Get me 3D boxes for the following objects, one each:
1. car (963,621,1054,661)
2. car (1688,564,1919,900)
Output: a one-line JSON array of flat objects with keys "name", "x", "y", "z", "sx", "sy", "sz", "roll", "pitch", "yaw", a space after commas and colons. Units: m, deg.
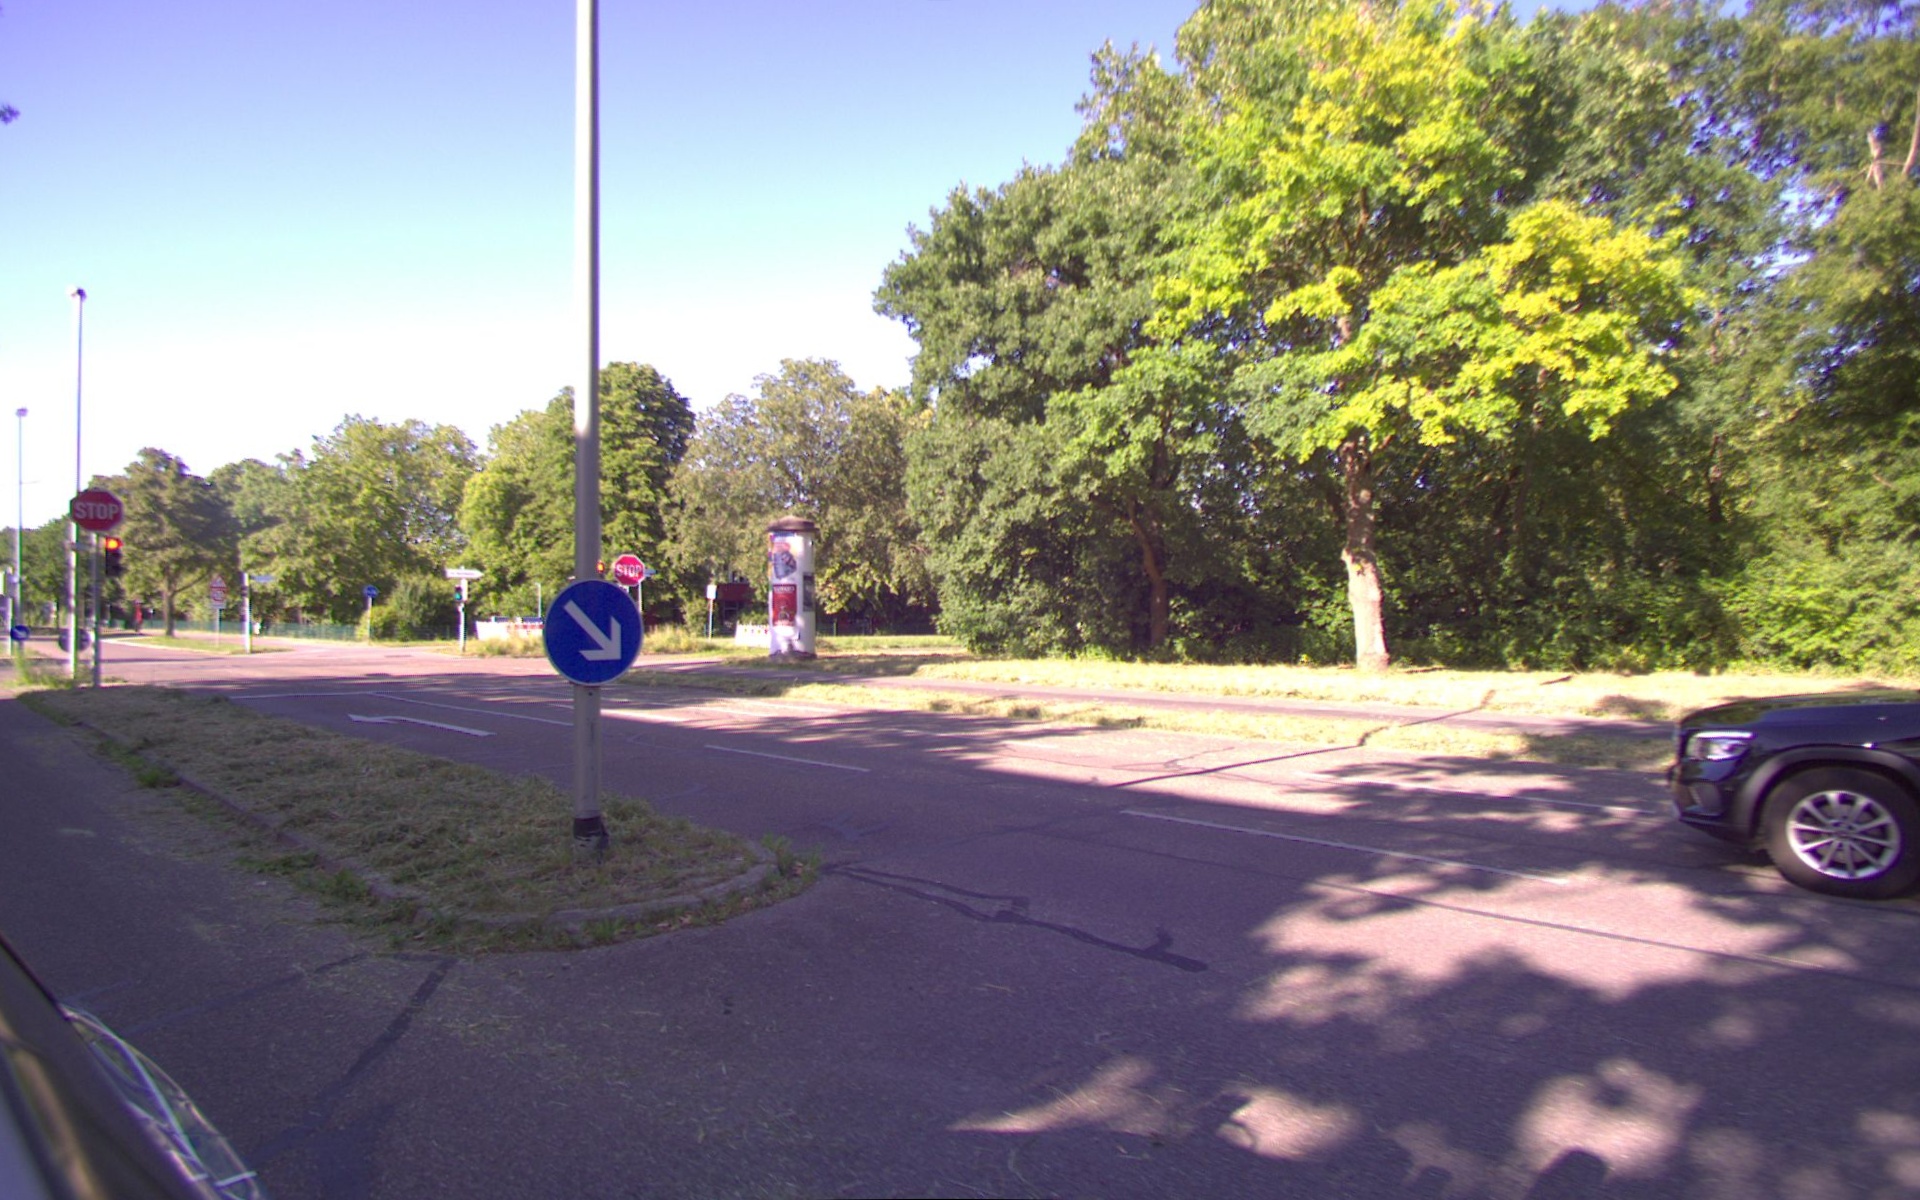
[{"name": "car", "x": 2.285, "y": 1.933, "z": 48.759, "sx": 1.825, "sy": 1.796, "sz": 4.521, "roll": 1, "pitch": -2, "yaw": -40}, {"name": "car", "x": 6.485, "y": 0.683, "z": 4.968, "sx": 4.506, "sy": 1.721, "sz": 1.819, "roll": -1, "pitch": -3, "yaw": 44}]
